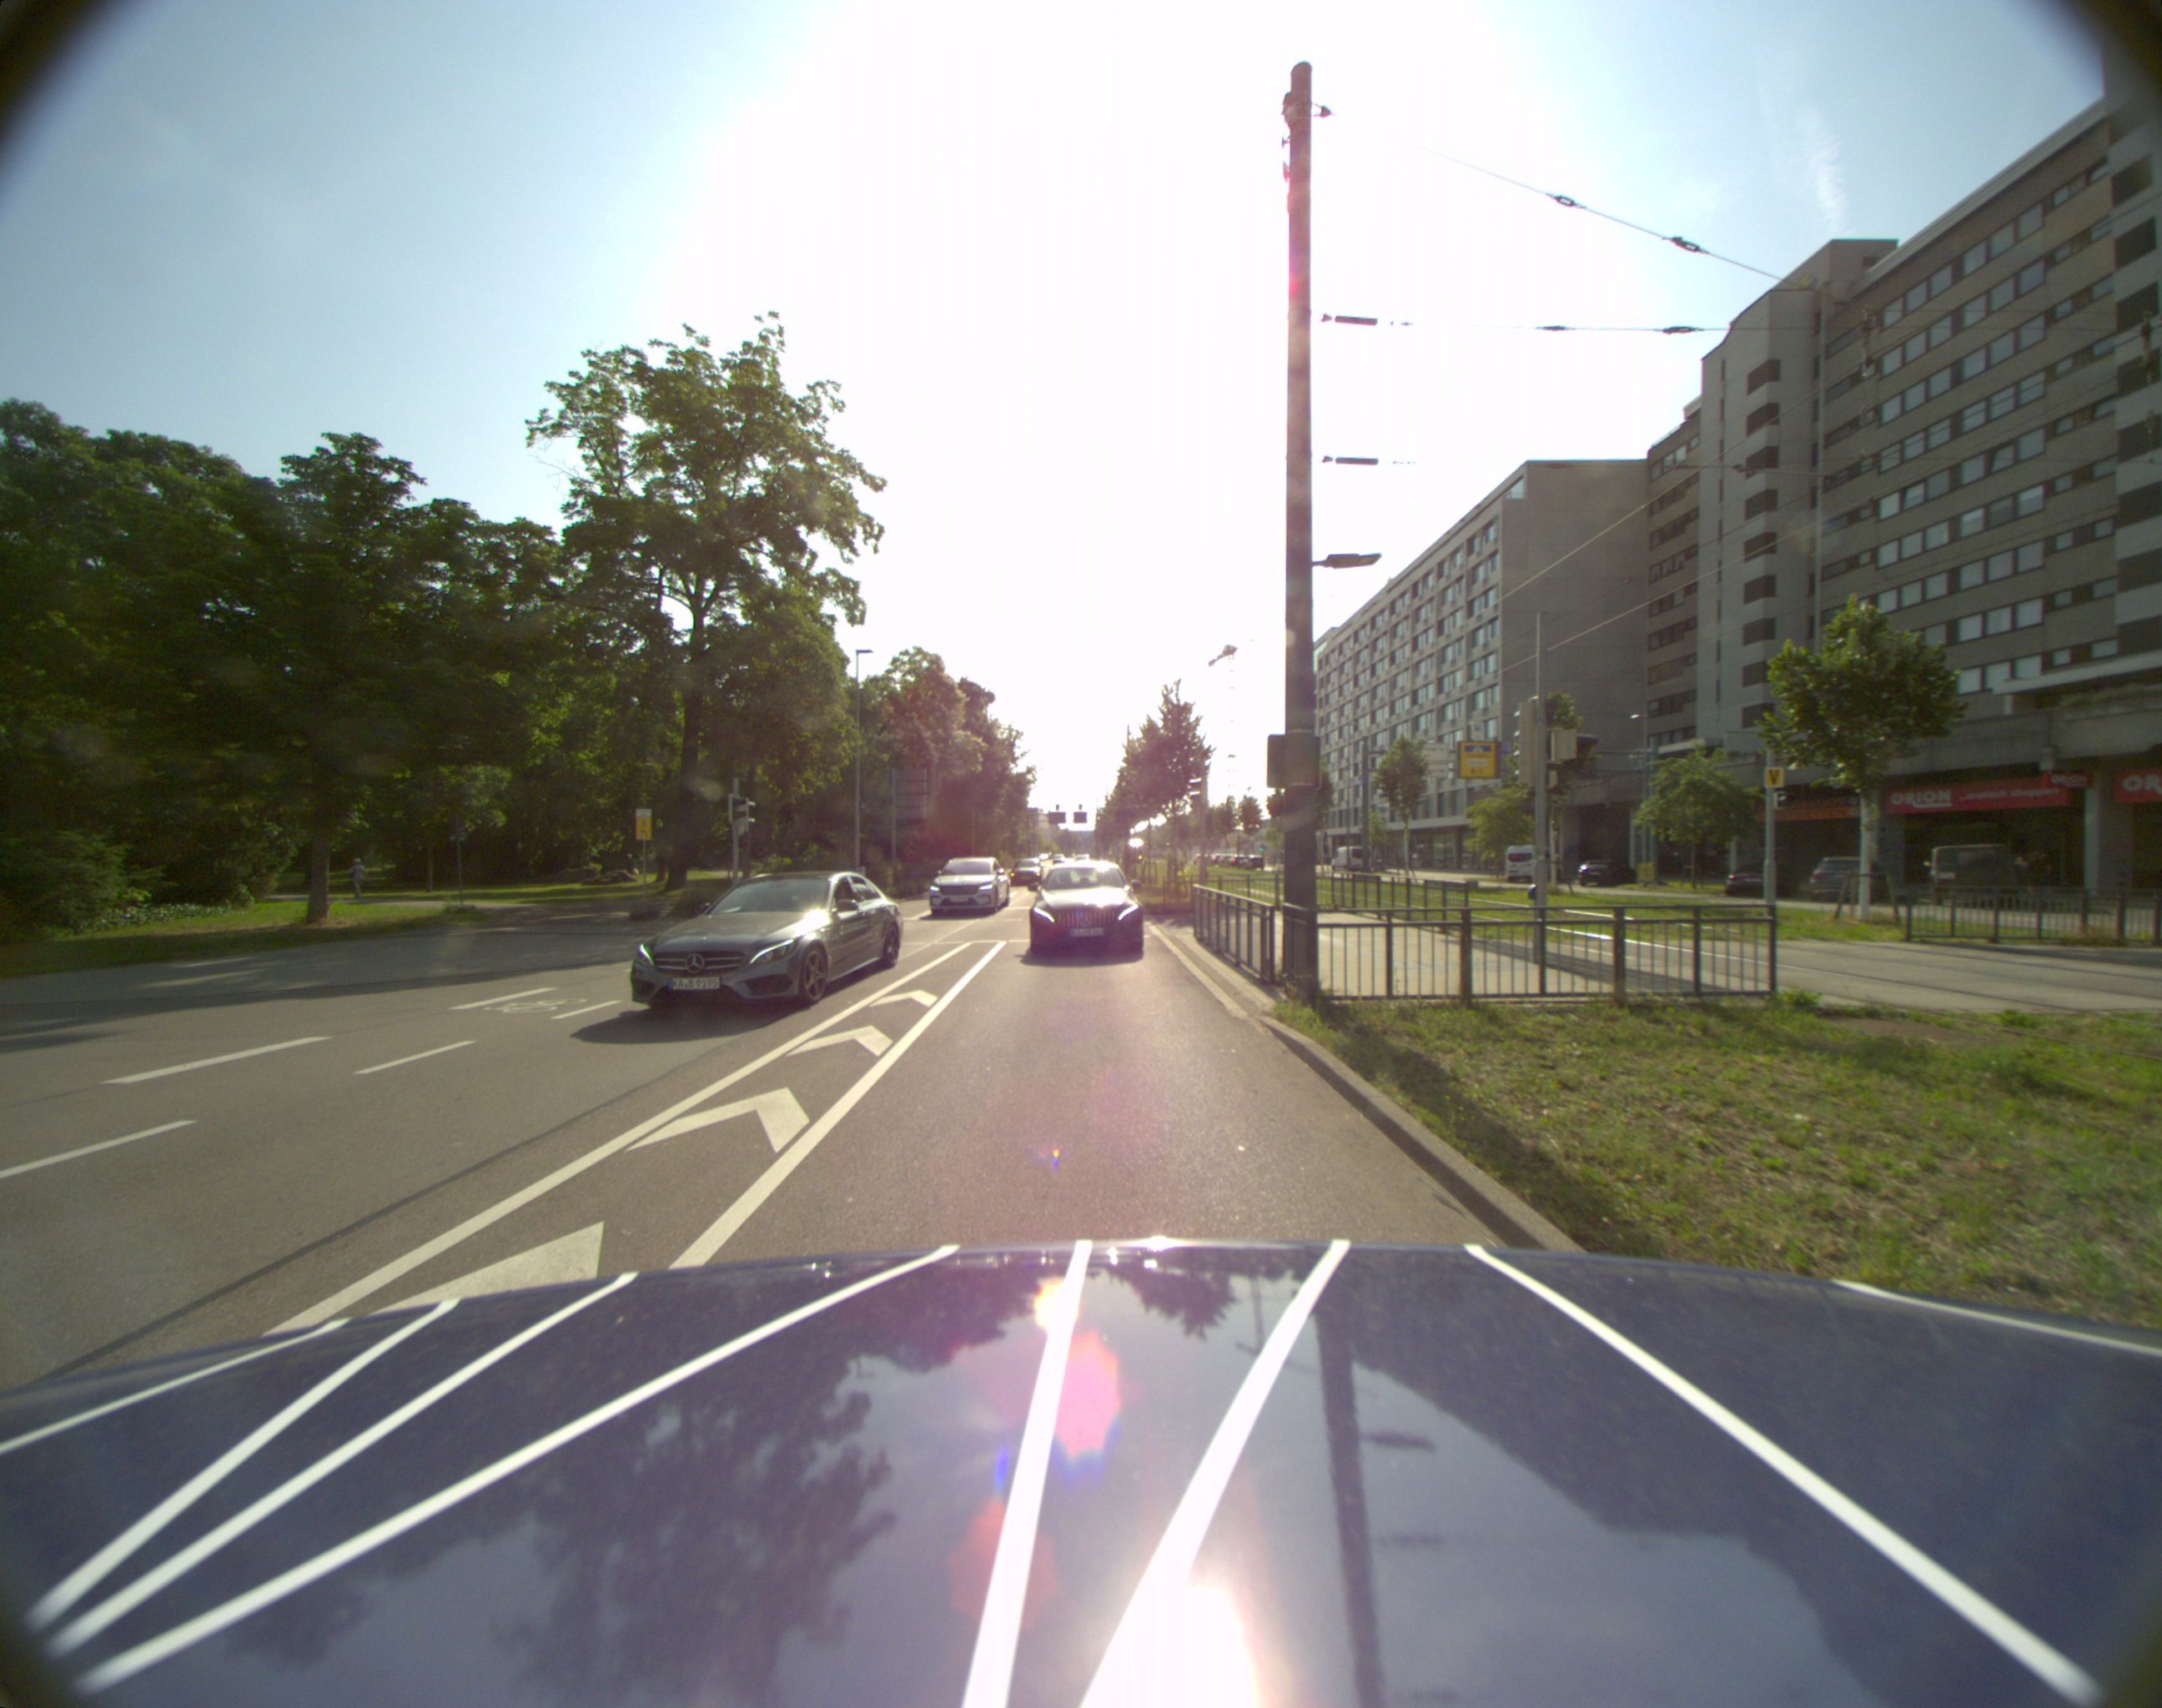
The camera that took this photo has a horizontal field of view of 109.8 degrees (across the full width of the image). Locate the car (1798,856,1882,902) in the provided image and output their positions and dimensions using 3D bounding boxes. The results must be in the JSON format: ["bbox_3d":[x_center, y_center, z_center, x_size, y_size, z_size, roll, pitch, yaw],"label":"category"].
[{"bbox_3d":[29.200,0.912,29.210,4.119,1.597,1.874,0,1,-39],"label":"car"}]

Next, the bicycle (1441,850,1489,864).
[{"bbox_3d":[37.269,0.292,73.732,3.994,1.358,1.127,0,1,9],"label":"bicycle"}]

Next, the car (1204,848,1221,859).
[{"bbox_3d":[17.776,-0.069,103.157,1.812,1.466,4.000,0,0,3],"label":"car"}]

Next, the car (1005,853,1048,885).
[{"bbox_3d":[-2.904,0.749,41.248,1.998,1.630,4.000,0,0,0],"label":"car"}]

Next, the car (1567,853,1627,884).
[{"bbox_3d":[28.955,0.804,42.598,2.097,1.573,4.008,-2,0,44],"label":"car"}]

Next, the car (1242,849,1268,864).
[{"bbox_3d":[17.421,0.273,76.294,1.812,1.472,4.000,0,0,3],"label":"car"}]

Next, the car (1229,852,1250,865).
[{"bbox_3d":[17.489,0.475,83.871,1.745,1.478,3.641,0,0,3],"label":"car"}]

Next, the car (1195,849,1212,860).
[{"bbox_3d":[17.866,0.031,110.960,1.787,1.516,4.000,0,0,1],"label":"car"}]

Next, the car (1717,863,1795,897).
[{"bbox_3d":[29.179,1.073,32.793,4.119,1.237,1.874,-2,1,-39],"label":"car"}]

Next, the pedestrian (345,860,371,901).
[{"bbox_3d":[-27.504,0.990,28.904,0.668,1.509,0.535,0,1,32],"label":"pedestrian"}]

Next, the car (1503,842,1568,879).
[{"bbox_3d":[29.480,0.384,49.221,5.419,2.295,1.879,0,1,-40],"label":"car"}]

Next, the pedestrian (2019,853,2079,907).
[{"bbox_3d":[30.857,0.802,24.240,0.744,1.686,1.115,-1,1,-43],"label":"pedestrian"}]

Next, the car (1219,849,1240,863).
[{"bbox_3d":[17.597,0.211,90.252,1.812,1.565,4.000,0,0,3],"label":"car"}]

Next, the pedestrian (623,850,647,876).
[{"bbox_3d":[-31.339,0.621,53.366,0.983,1.820,1.072,0,1,30],"label":"pedestrian"}]

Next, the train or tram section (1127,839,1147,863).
[{"bbox_3d":[7.979,-0.431,109.457,2.500,3.409,6.669,0,0,1],"label":"train or tram section"}]

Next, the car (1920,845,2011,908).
[{"bbox_3d":[30.017,0.688,25.749,4.119,1.957,1.874,-1,1,-39],"label":"car"}]

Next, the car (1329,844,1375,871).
[{"bbox_3d":[23.246,0.267,65.383,2.051,2.225,5.334,0,0,-1],"label":"car"}]

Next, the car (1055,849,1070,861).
[{"bbox_3d":[-2.594,0.123,106.552,1.905,1.584,4.000,0,0,0],"label":"car"}]

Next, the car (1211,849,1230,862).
[{"bbox_3d":[17.574,0.145,95.729,1.812,1.565,4.000,0,0,3],"label":"car"}]

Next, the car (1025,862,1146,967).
[{"bbox_3d":[0.101,0.929,13.714,1.760,1.437,4.617,-2,0,1],"label":"car"}]

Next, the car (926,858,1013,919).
[{"bbox_3d":[-3.230,0.942,22.819,1.897,1.561,4.250,-1,0,1],"label":"car"}]
